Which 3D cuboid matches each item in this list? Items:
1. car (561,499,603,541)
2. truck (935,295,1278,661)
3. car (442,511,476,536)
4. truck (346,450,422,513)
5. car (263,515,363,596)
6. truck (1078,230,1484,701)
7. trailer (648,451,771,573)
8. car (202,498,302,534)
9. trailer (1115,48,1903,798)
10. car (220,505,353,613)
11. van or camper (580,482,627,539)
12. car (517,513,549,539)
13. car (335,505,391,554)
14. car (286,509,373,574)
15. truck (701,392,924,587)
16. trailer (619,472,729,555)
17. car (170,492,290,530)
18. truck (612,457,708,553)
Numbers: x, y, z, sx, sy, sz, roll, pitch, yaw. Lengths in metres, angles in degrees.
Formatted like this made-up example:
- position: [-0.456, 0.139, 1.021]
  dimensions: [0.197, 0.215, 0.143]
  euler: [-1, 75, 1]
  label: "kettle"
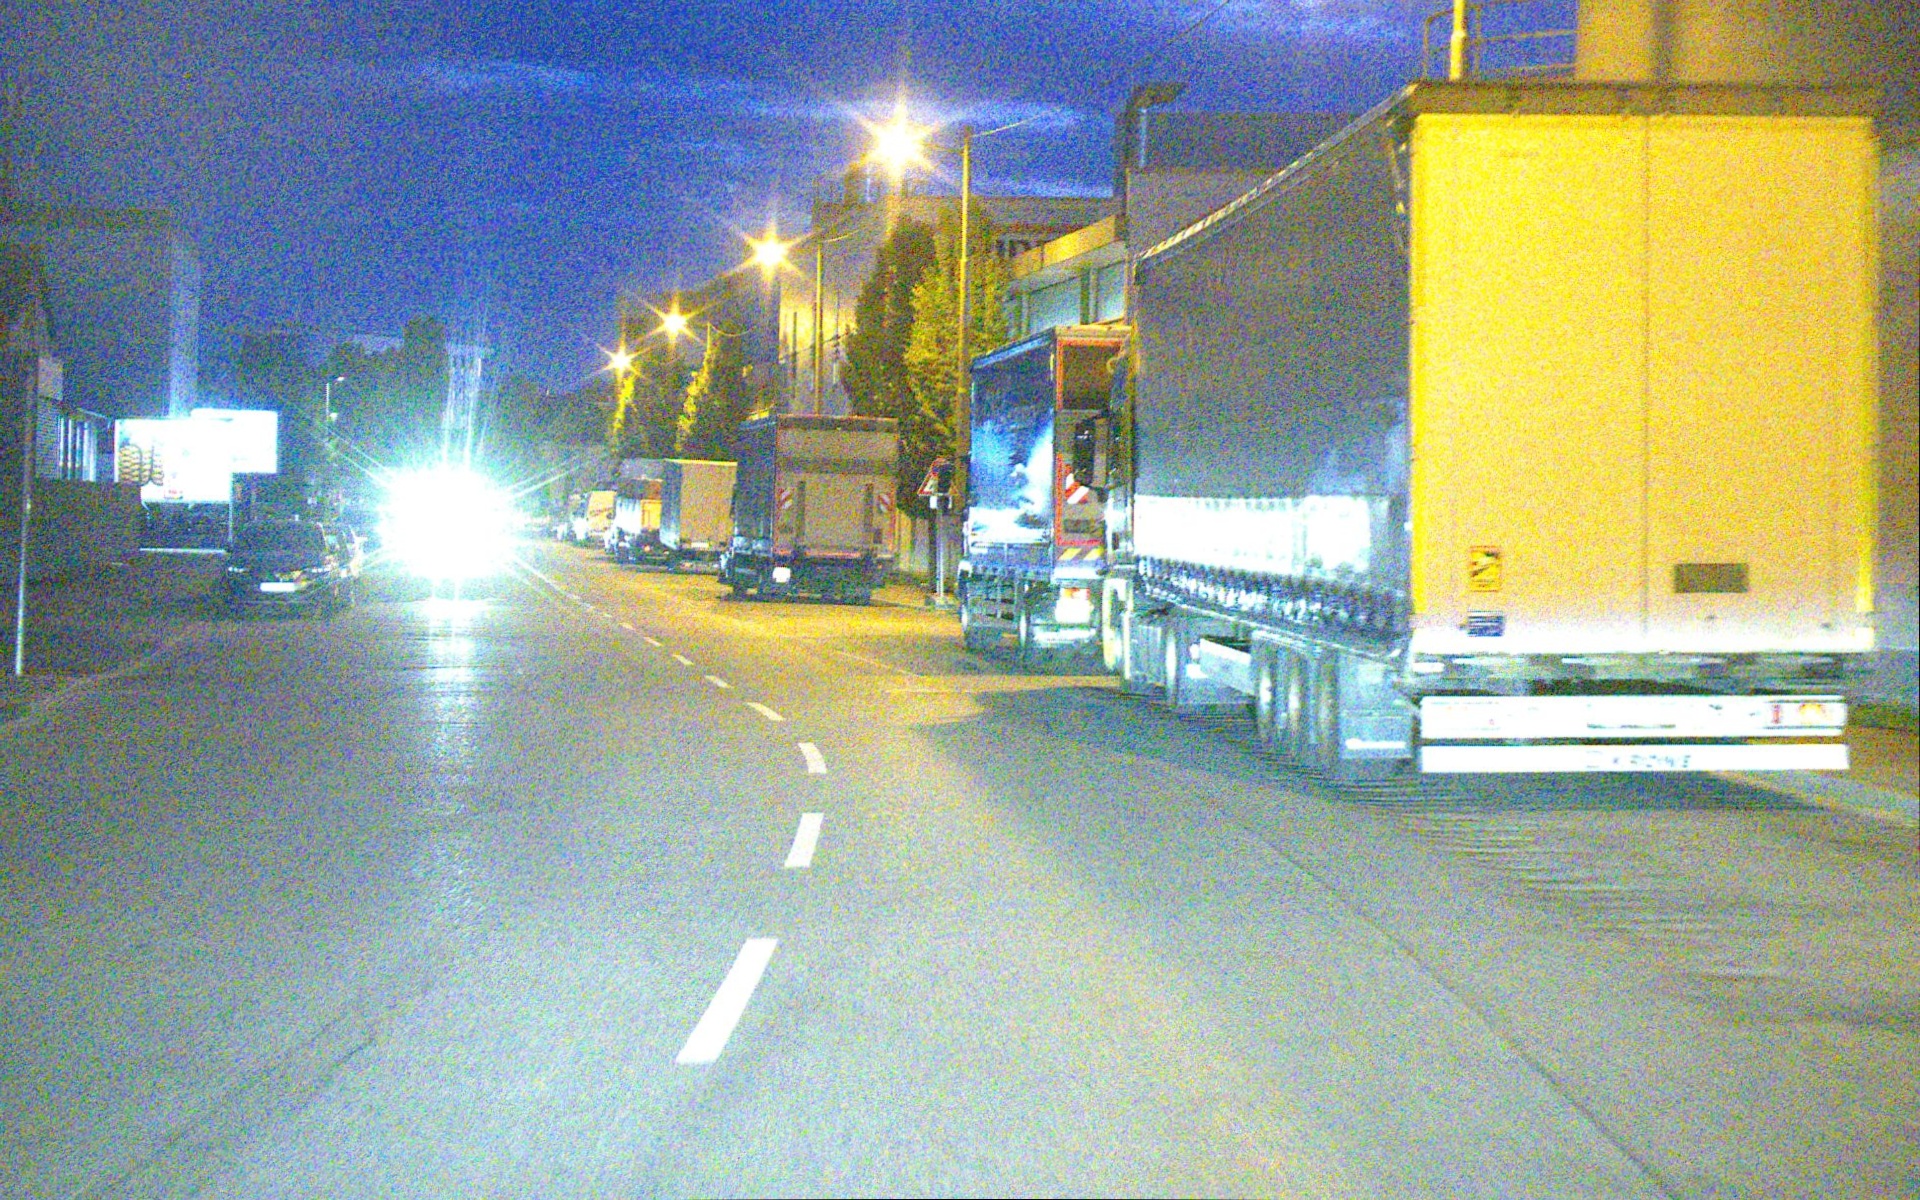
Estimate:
- position: [-19.857, -4.192, 180.673]
  dimensions: [1.993, 2.138, 4.001]
  euler: [1, 1, -8]
  label: "car"
- position: [1.565, -1.416, 42.641]
  dimensions: [2.829, 3.969, 10.344]
  euler: [0, 1, -6]
  label: "truck"
- position: [-30.413, -4.645, 208.578]
  dimensions: [1.993, 1.393, 4.001]
  euler: [1, 1, -8]
  label: "car"
- position: [-34.947, -7.144, 208.338]
  dimensions: [3.889, 3.609, 8.263]
  euler: [1, 1, -14]
  label: "truck"
- position: [-11.608, -0.819, 61.837]
  dimensions: [1.601, 1.349, 4.001]
  euler: [2, 1, -9]
  label: "car"
- position: [2.824, -1.182, 32.105]
  dimensions: [2.830, 3.969, 6.051]
  euler: [0, 1, -4]
  label: "truck"
- position: [-7.633, -2.636, 103.842]
  dimensions: [2.686, 3.452, 7.812]
  euler: [2, 1, -11]
  label: "trailer"
- position: [-32.144, -3.802, 156.123]
  dimensions: [3.987, 1.589, 2.000]
  euler: [-1, 1, -34]
  label: "car"
- position: [3.242, -1.055, 25.263]
  dimensions: [2.808, 3.969, 13.976]
  euler: [0, 1, -3]
  label: "trailer"
- position: [-11.027, -0.689, 56.530]
  dimensions: [1.993, 1.631, 4.775]
  euler: [2, 1, -10]
  label: "car"
- position: [-16.656, -4.174, 160.435]
  dimensions: [1.993, 2.572, 4.916]
  euler: [2, 1, -8]
  label: "van or camper"
- position: [-28.635, -4.962, 230.308]
  dimensions: [1.993, 1.678, 4.001]
  euler: [1, 1, -8]
  label: "car"
- position: [-22.937, -2.732, 132.174]
  dimensions: [1.993, 1.787, 4.001]
  euler: [1, 1, -8]
  label: "car"
- position: [-14.728, -1.389, 80.460]
  dimensions: [1.841, 1.415, 4.001]
  euler: [1, 1, -8]
  label: "car"
- position: [-3.393, -2.353, 75.669]
  dimensions: [3.519, 3.969, 10.345]
  euler: [0, 1, -10]
  label: "truck"
- position: [-10.066, -2.982, 119.992]
  dimensions: [3.183, 2.739, 10.718]
  euler: [0, 1, -8]
  label: "trailer"
- position: [-31.340, -3.816, 147.678]
  dimensions: [4.613, 1.480, 2.000]
  euler: [1, 1, -31]
  label: "car"
- position: [-11.121, -3.473, 127.050]
  dimensions: [3.150, 3.451, 6.675]
  euler: [0, 1, -8]
  label: "truck"
